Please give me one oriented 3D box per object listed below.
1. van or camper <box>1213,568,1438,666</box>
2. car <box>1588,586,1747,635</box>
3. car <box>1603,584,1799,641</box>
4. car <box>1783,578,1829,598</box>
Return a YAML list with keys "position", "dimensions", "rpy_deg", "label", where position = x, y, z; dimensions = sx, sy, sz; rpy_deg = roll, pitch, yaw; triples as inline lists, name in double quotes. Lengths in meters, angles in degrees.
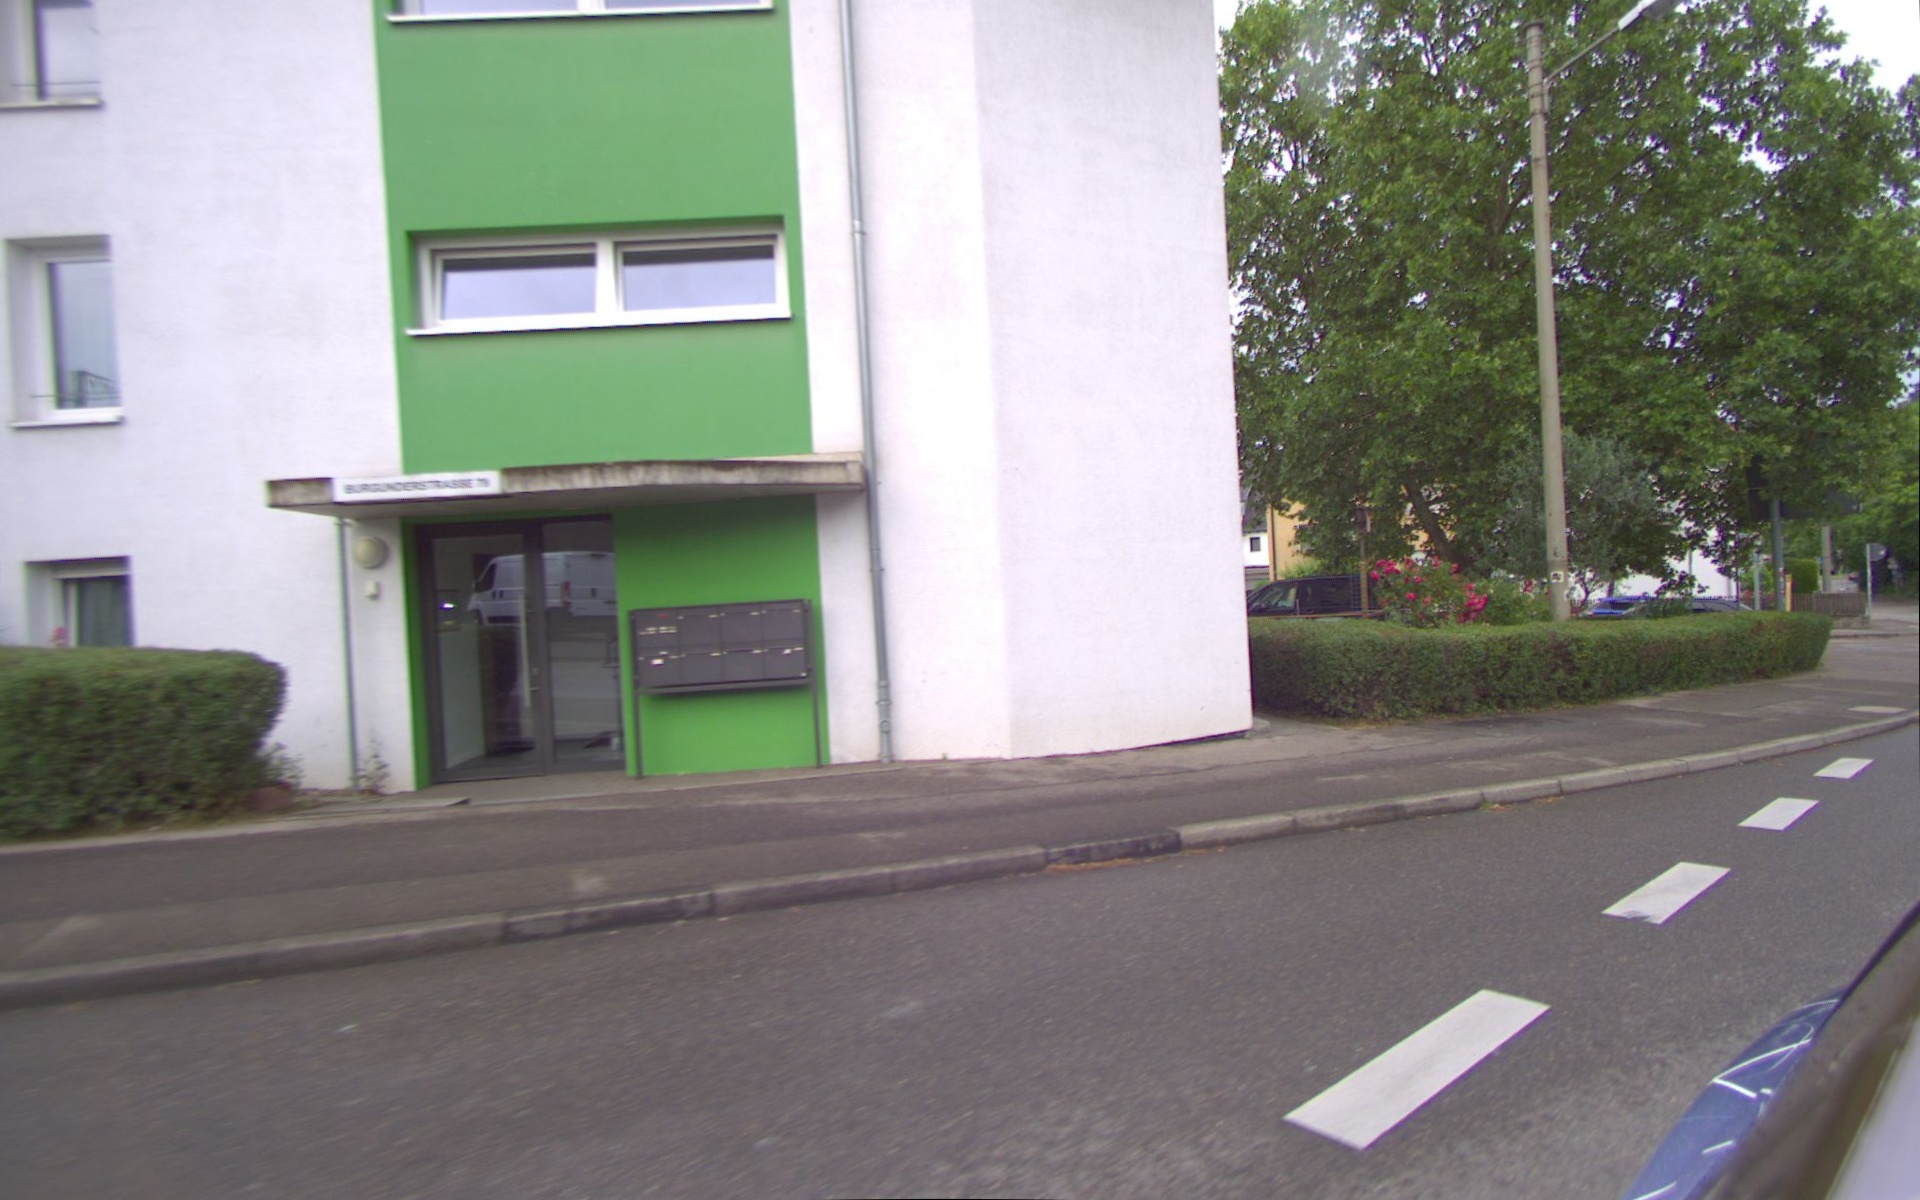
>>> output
- position: [7.872, 0.375, 21.841]
  dimensions: [4.289, 1.928, 1.979]
  rpy_deg: [-2, -1, 30]
  label: "van or camper"
- position: [22.621, 0.345, 32.565]
  dimensions: [3.963, 1.482, 1.843]
  rpy_deg: [-1, 0, 28]
  label: "car"
- position: [21.487, 0.374, 29.603]
  dimensions: [4.353, 1.533, 1.980]
  rpy_deg: [-2, -1, 29]
  label: "car"
- position: [70.216, -0.993, 84.088]
  dimensions: [1.825, 1.577, 5.518]
  rpy_deg: [-2, -1, 28]
  label: "car"
